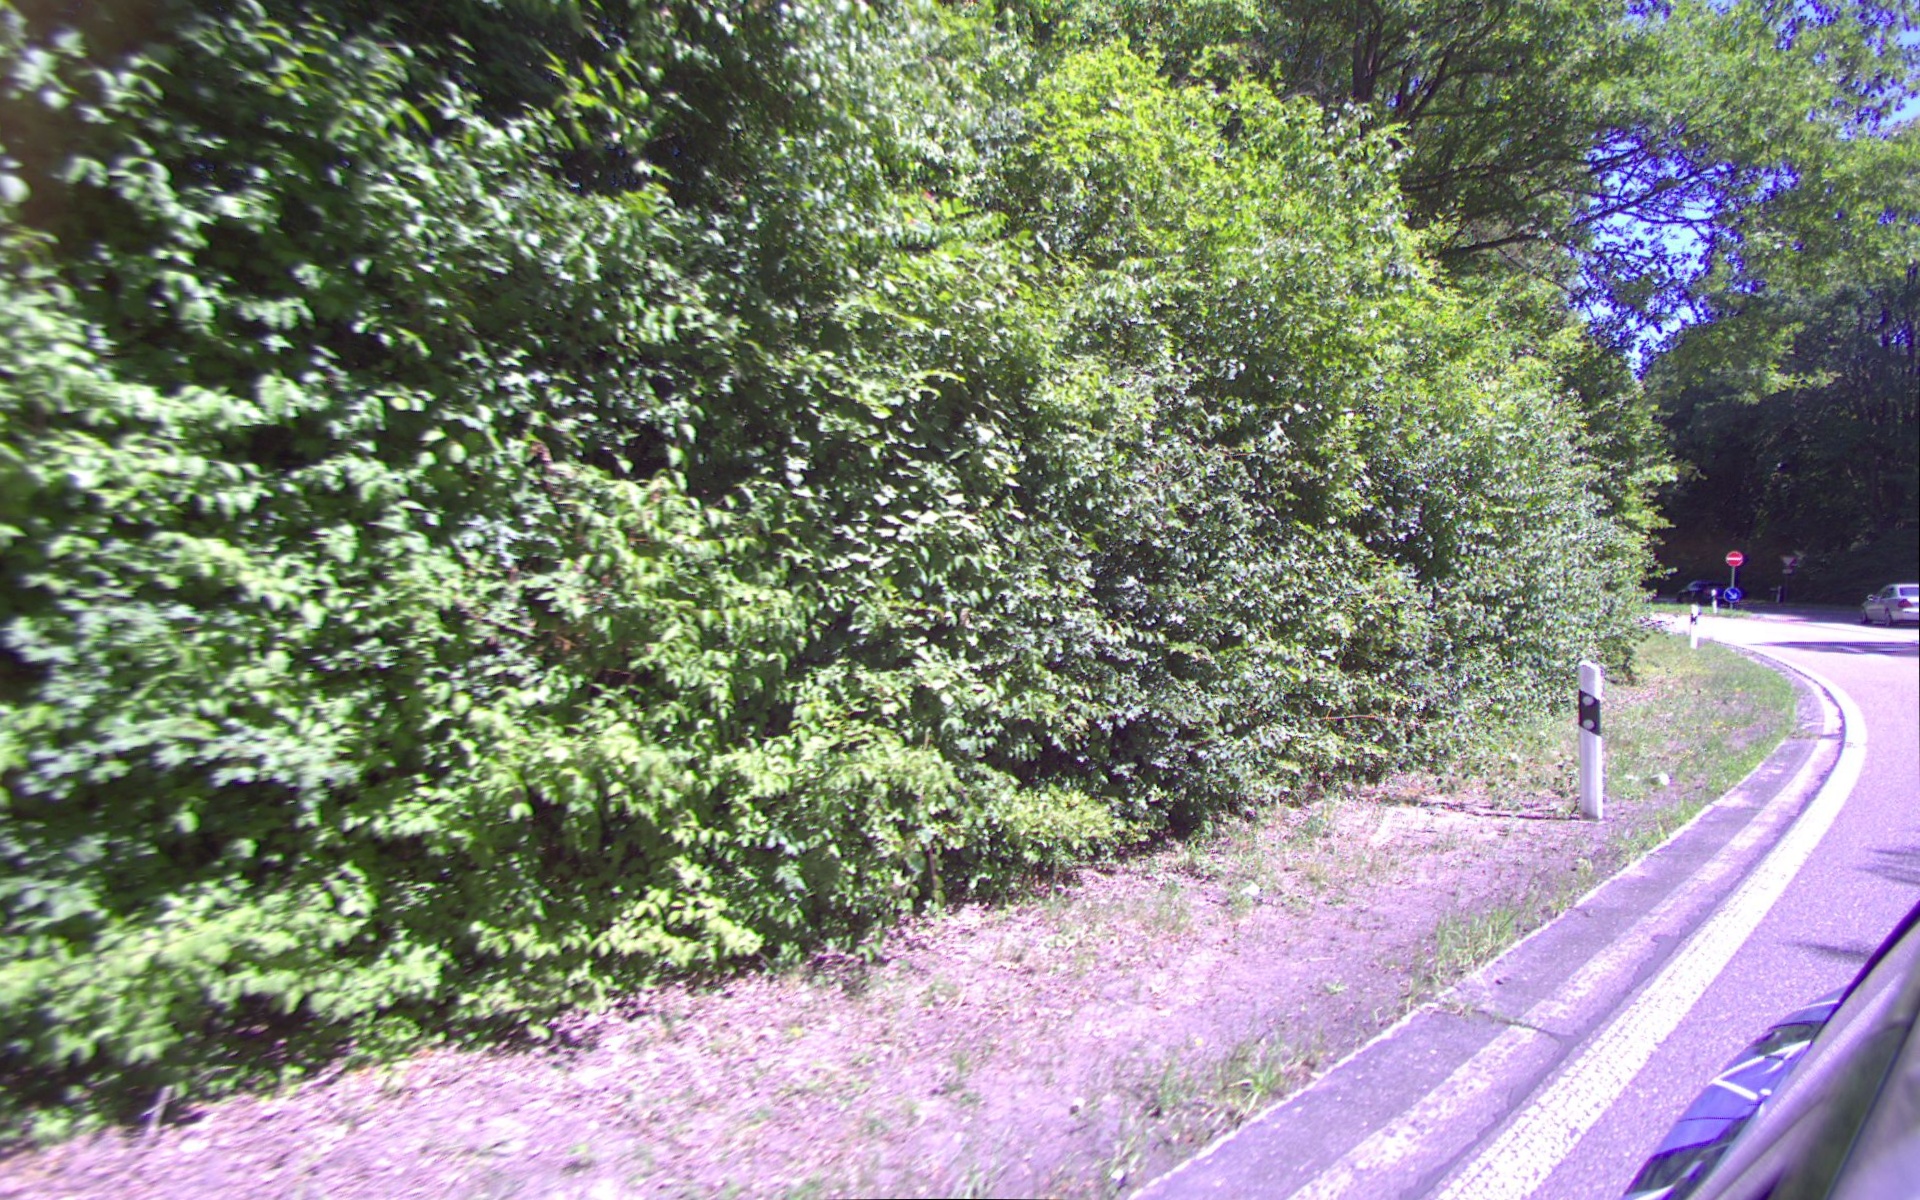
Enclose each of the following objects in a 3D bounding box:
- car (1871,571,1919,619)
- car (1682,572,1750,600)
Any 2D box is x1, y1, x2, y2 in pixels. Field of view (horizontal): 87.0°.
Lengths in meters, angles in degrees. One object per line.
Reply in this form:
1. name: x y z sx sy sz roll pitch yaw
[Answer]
1. car: 32.580 -0.178 34.093 1.836 1.504 4.715 2 3 30
2. car: 42.611 -0.815 57.139 1.772 1.423 4.335 1 2 19
